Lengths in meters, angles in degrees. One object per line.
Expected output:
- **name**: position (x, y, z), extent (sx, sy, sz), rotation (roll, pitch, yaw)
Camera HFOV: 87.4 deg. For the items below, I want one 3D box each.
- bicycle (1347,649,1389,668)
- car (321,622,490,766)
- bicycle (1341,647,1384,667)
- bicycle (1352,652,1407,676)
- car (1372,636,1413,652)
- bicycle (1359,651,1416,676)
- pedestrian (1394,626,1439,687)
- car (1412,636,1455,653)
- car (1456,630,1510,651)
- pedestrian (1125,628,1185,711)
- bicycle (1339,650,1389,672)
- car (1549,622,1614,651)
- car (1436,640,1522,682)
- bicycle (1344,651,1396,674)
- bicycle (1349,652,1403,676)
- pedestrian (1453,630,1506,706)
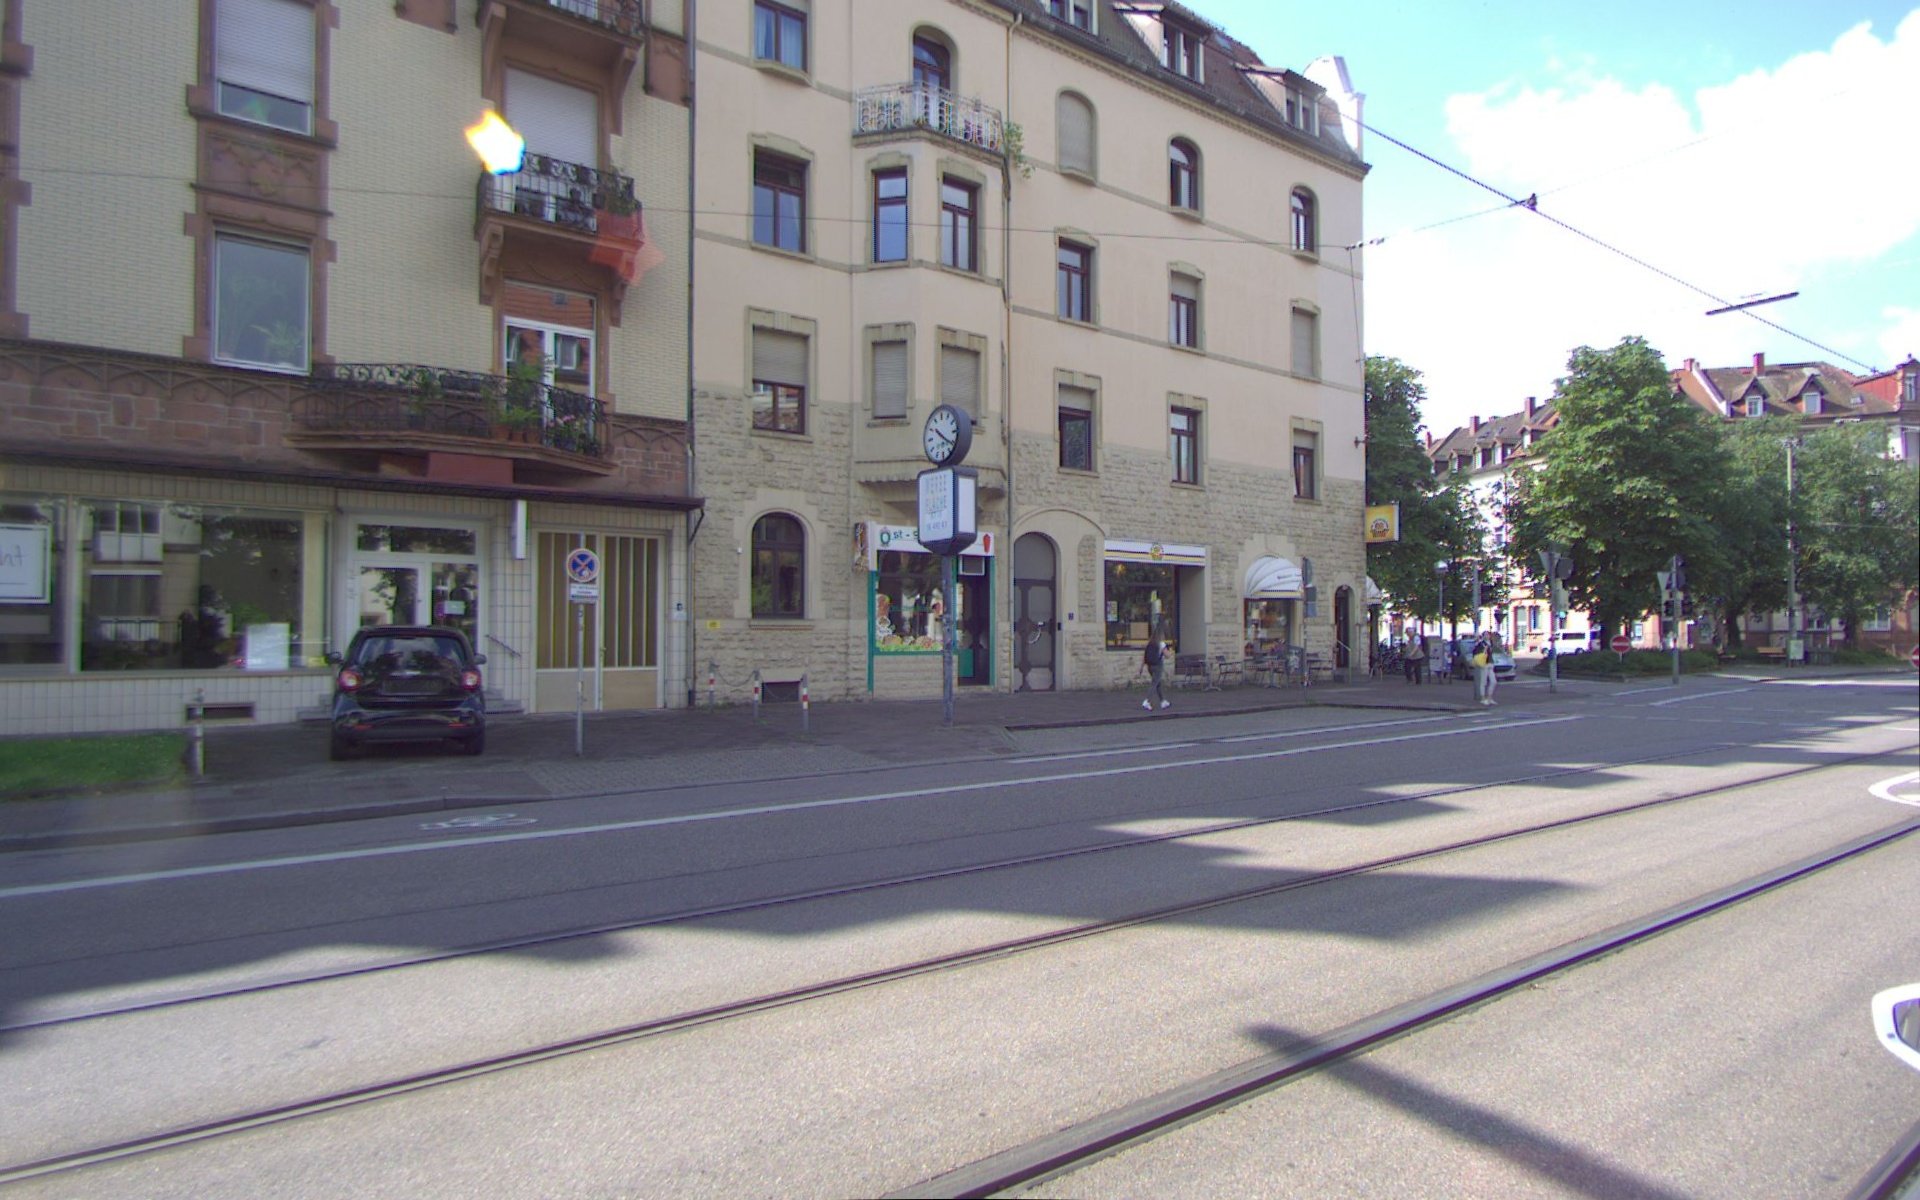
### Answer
- **bicycle**: position (21.511, 3.073, 52.926), extent (1.994, 0.910, 0.571), rotation (0, -2, 29)
- **car**: position (-7.269, 1.088, 13.034), extent (1.688, 1.506, 3.425), rotation (1, 0, -32)
- **bicycle**: position (20.075, 2.836, 50.141), extent (1.992, 0.910, 0.572), rotation (1, -2, 23)
- **bicycle**: position (16.889, 2.585, 40.470), extent (1.990, 0.894, 0.512), rotation (1, -2, 12)
- **car**: position (39.896, 4.061, 92.758), extent (1.602, 1.513, 3.638), rotation (0, -2, -13)
- **bicycle**: position (16.651, 2.470, 39.142), extent (1.990, 0.894, 0.523), rotation (1, -2, 12)
- **pedestrian**: position (13.083, 1.609, 28.810), extent (0.813, 1.694, 0.850), rotation (1, -2, -33)
- **car**: position (41.182, 3.874, 87.450), extent (1.468, 1.411, 3.686), rotation (0, -2, -13)
- **car**: position (42.729, 3.340, 82.137), extent (1.882, 1.685, 3.934), rotation (0, -2, -11)
- **pedestrian**: position (3.898, 1.370, 20.080), extent (0.956, 1.562, 0.687), rotation (1, 2, -43)
- **bicycle**: position (17.951, 2.697, 44.646), extent (1.990, 0.894, 0.547), rotation (1, -2, 12)
- **car**: position (44.735, 2.647, 72.395), extent (1.823, 2.015, 3.941), rotation (0, -2, -10)
- **car**: position (18.959, 2.204, 36.851), extent (1.686, 1.438, 3.877), rotation (0, -2, 9)
- **bicycle**: position (17.520, 2.678, 42.982), extent (1.990, 0.894, 0.512), rotation (1, -2, 12)
- **bicycle**: position (17.252, 2.654, 41.655), extent (1.990, 0.894, 0.512), rotation (1, -2, 12)
- **pedestrian**: position (12.383, 1.602, 23.945), extent (0.865, 1.727, 0.751), rotation (1, 2, -35)
